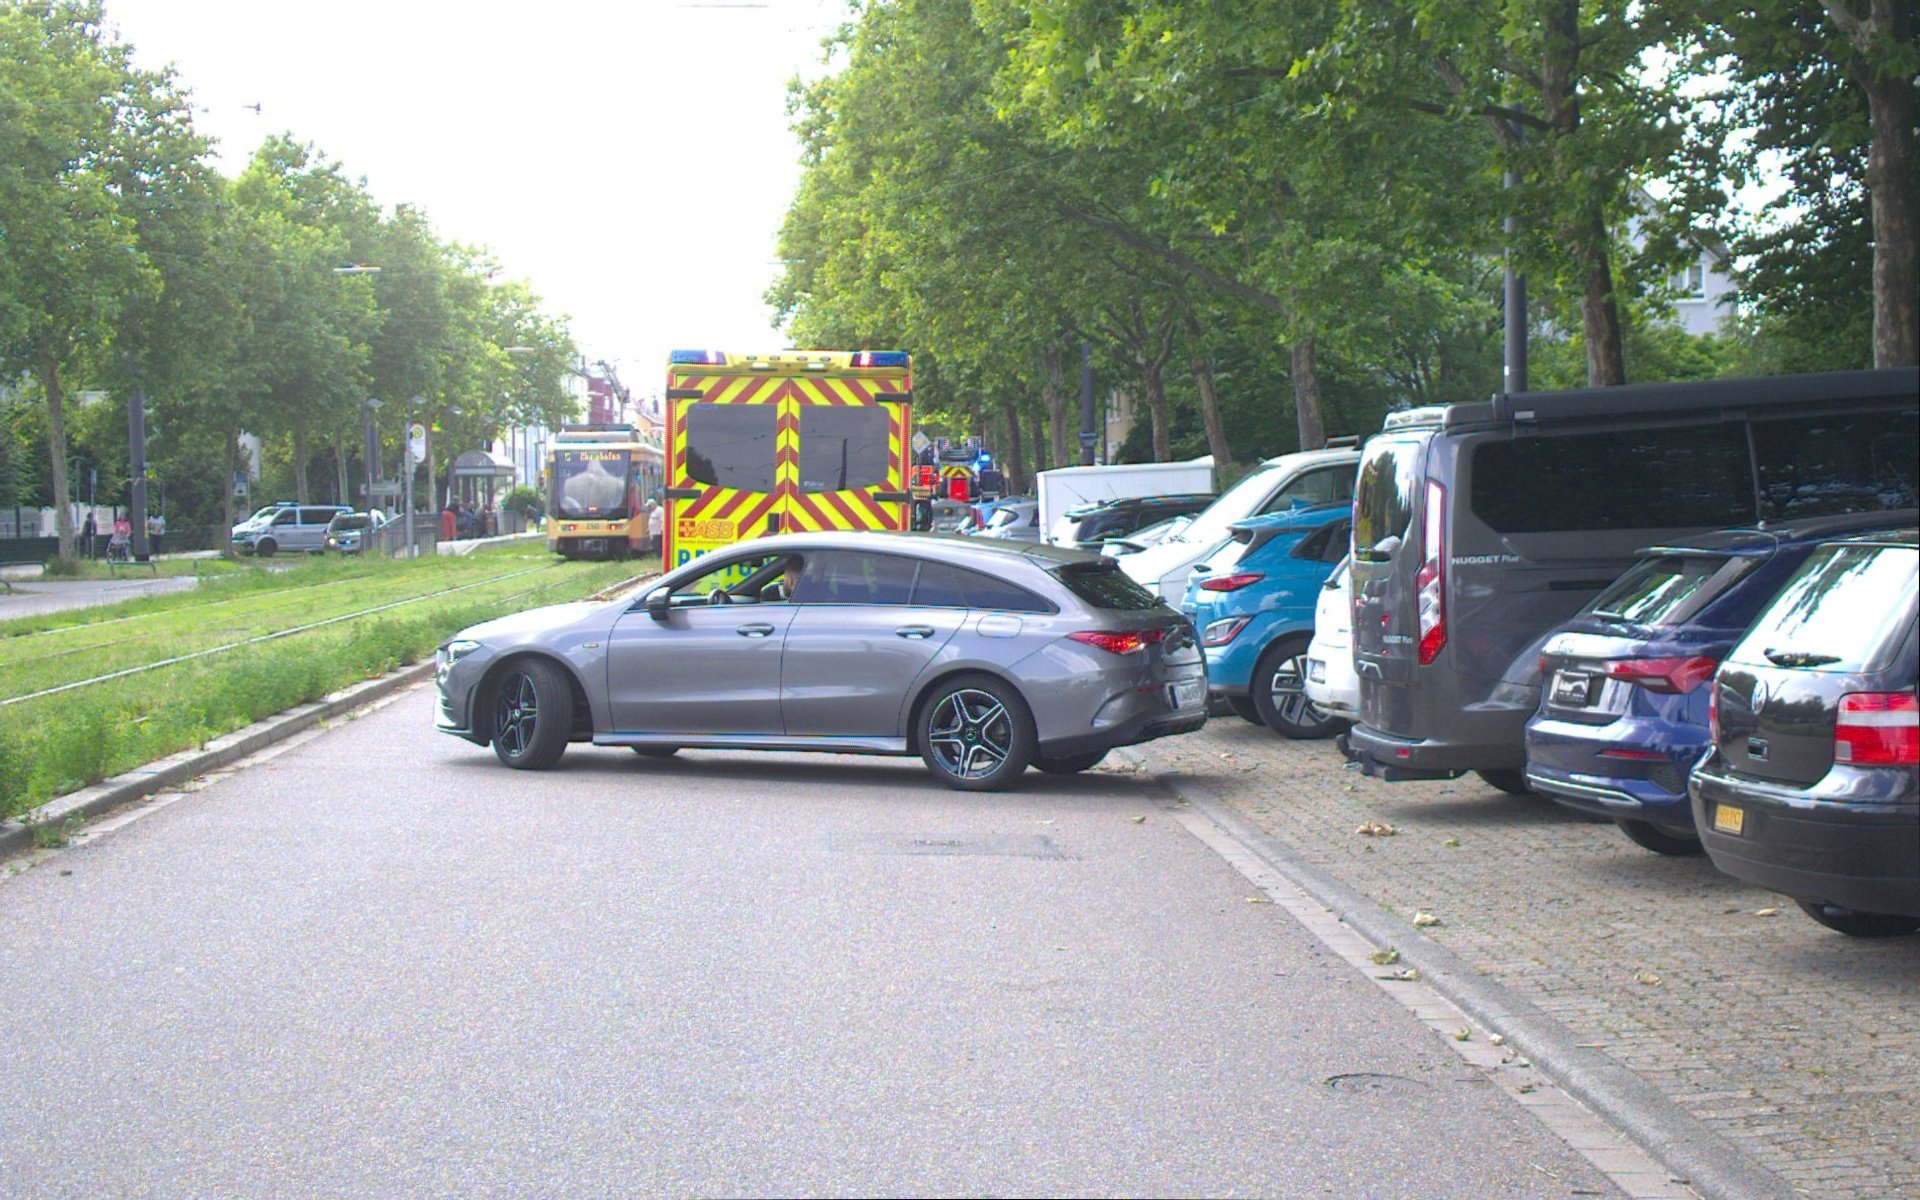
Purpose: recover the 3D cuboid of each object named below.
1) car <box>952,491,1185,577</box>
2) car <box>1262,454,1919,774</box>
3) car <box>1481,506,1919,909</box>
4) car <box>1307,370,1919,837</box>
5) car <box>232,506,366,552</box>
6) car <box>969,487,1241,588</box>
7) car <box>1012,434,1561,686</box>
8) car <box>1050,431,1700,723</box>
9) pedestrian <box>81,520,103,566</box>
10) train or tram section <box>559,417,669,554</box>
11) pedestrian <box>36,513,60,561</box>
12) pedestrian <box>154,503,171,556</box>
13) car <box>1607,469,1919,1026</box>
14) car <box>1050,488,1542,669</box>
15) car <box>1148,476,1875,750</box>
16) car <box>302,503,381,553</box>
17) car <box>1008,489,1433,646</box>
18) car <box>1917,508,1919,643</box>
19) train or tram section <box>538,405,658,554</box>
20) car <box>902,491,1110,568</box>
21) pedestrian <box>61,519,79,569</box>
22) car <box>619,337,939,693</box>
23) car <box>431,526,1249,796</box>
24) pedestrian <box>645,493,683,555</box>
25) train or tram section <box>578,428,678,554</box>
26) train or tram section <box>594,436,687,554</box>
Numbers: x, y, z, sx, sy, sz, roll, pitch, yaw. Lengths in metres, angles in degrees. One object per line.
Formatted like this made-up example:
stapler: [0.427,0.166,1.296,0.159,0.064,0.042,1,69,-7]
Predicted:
car: [2.216,-1.370,70.717,4.545,1.603,1.856,-2,1,-6]
car: [4.261,0.040,21.064,4.545,1.760,1.856,-2,1,-2]
car: [4.285,0.352,14.013,3.965,1.489,1.756,-2,1,-2]
car: [4.154,-0.041,17.141,4.545,2.116,1.856,-2,1,-2]
car: [-24.791,-2.679,129.021,4.615,1.627,1.882,-2,2,-41]
car: [2.539,-1.115,60.873,4.545,1.603,1.856,-2,1,-6]
car: [2.858,-0.380,30.685,4.545,2.036,1.856,-2,1,-6]
car: [3.085,-0.197,26.097,4.545,1.994,1.856,-2,1,-6]
pedestrian: [-26.383,-1.737,104.549,0.422,1.409,0.467,0,2,23]
train or tram section: [-9.630,-3.134,96.258,2.511,3.572,7.446,-2,1,-3]
pedestrian: [-29.211,-2.023,110.107,0.632,1.545,0.622,-1,1,-5]
pedestrian: [-27.694,-2.443,119.394,0.466,1.822,0.423,-1,1,-4]
car: [4.331,0.341,11.180,3.964,1.600,1.757,-2,2,-12]
car: [3.289,-0.232,34.176,4.545,1.603,1.856,-2,1,-6]
car: [3.714,0.053,23.583,4.545,1.654,1.856,-2,1,-6]
car: [-20.446,-2.407,113.802,1.993,1.552,4.371,-2,2,-3]
car: [2.939,-0.390,39.324,4.545,1.603,1.856,-2,1,-6]
car: [4.613,0.455,8.463,3.965,1.489,1.756,-2,1,-2]
train or tram section: [-9.294,-3.036,88.832,2.511,3.572,7.446,-2,1,-3]
car: [1.046,-1.622,78.919,4.545,1.603,1.856,-2,1,-6]
pedestrian: [-26.583,-1.673,102.666,0.421,1.468,0.467,-1,1,-7]
car: [-1.589,-0.801,32.573,2.641,2.956,6.300,2,1,-1]
car: [-0.701,0.300,20.223,4.458,1.381,1.765,2,1,20]
pedestrian: [-7.291,-1.867,84.734,0.880,1.520,0.751,1,1,-3]
train or tram section: [-9.959,-3.232,103.697,2.511,3.572,7.446,-2,1,-3]
train or tram section: [-10.280,-3.330,111.134,2.511,3.572,7.446,-2,1,-3]
